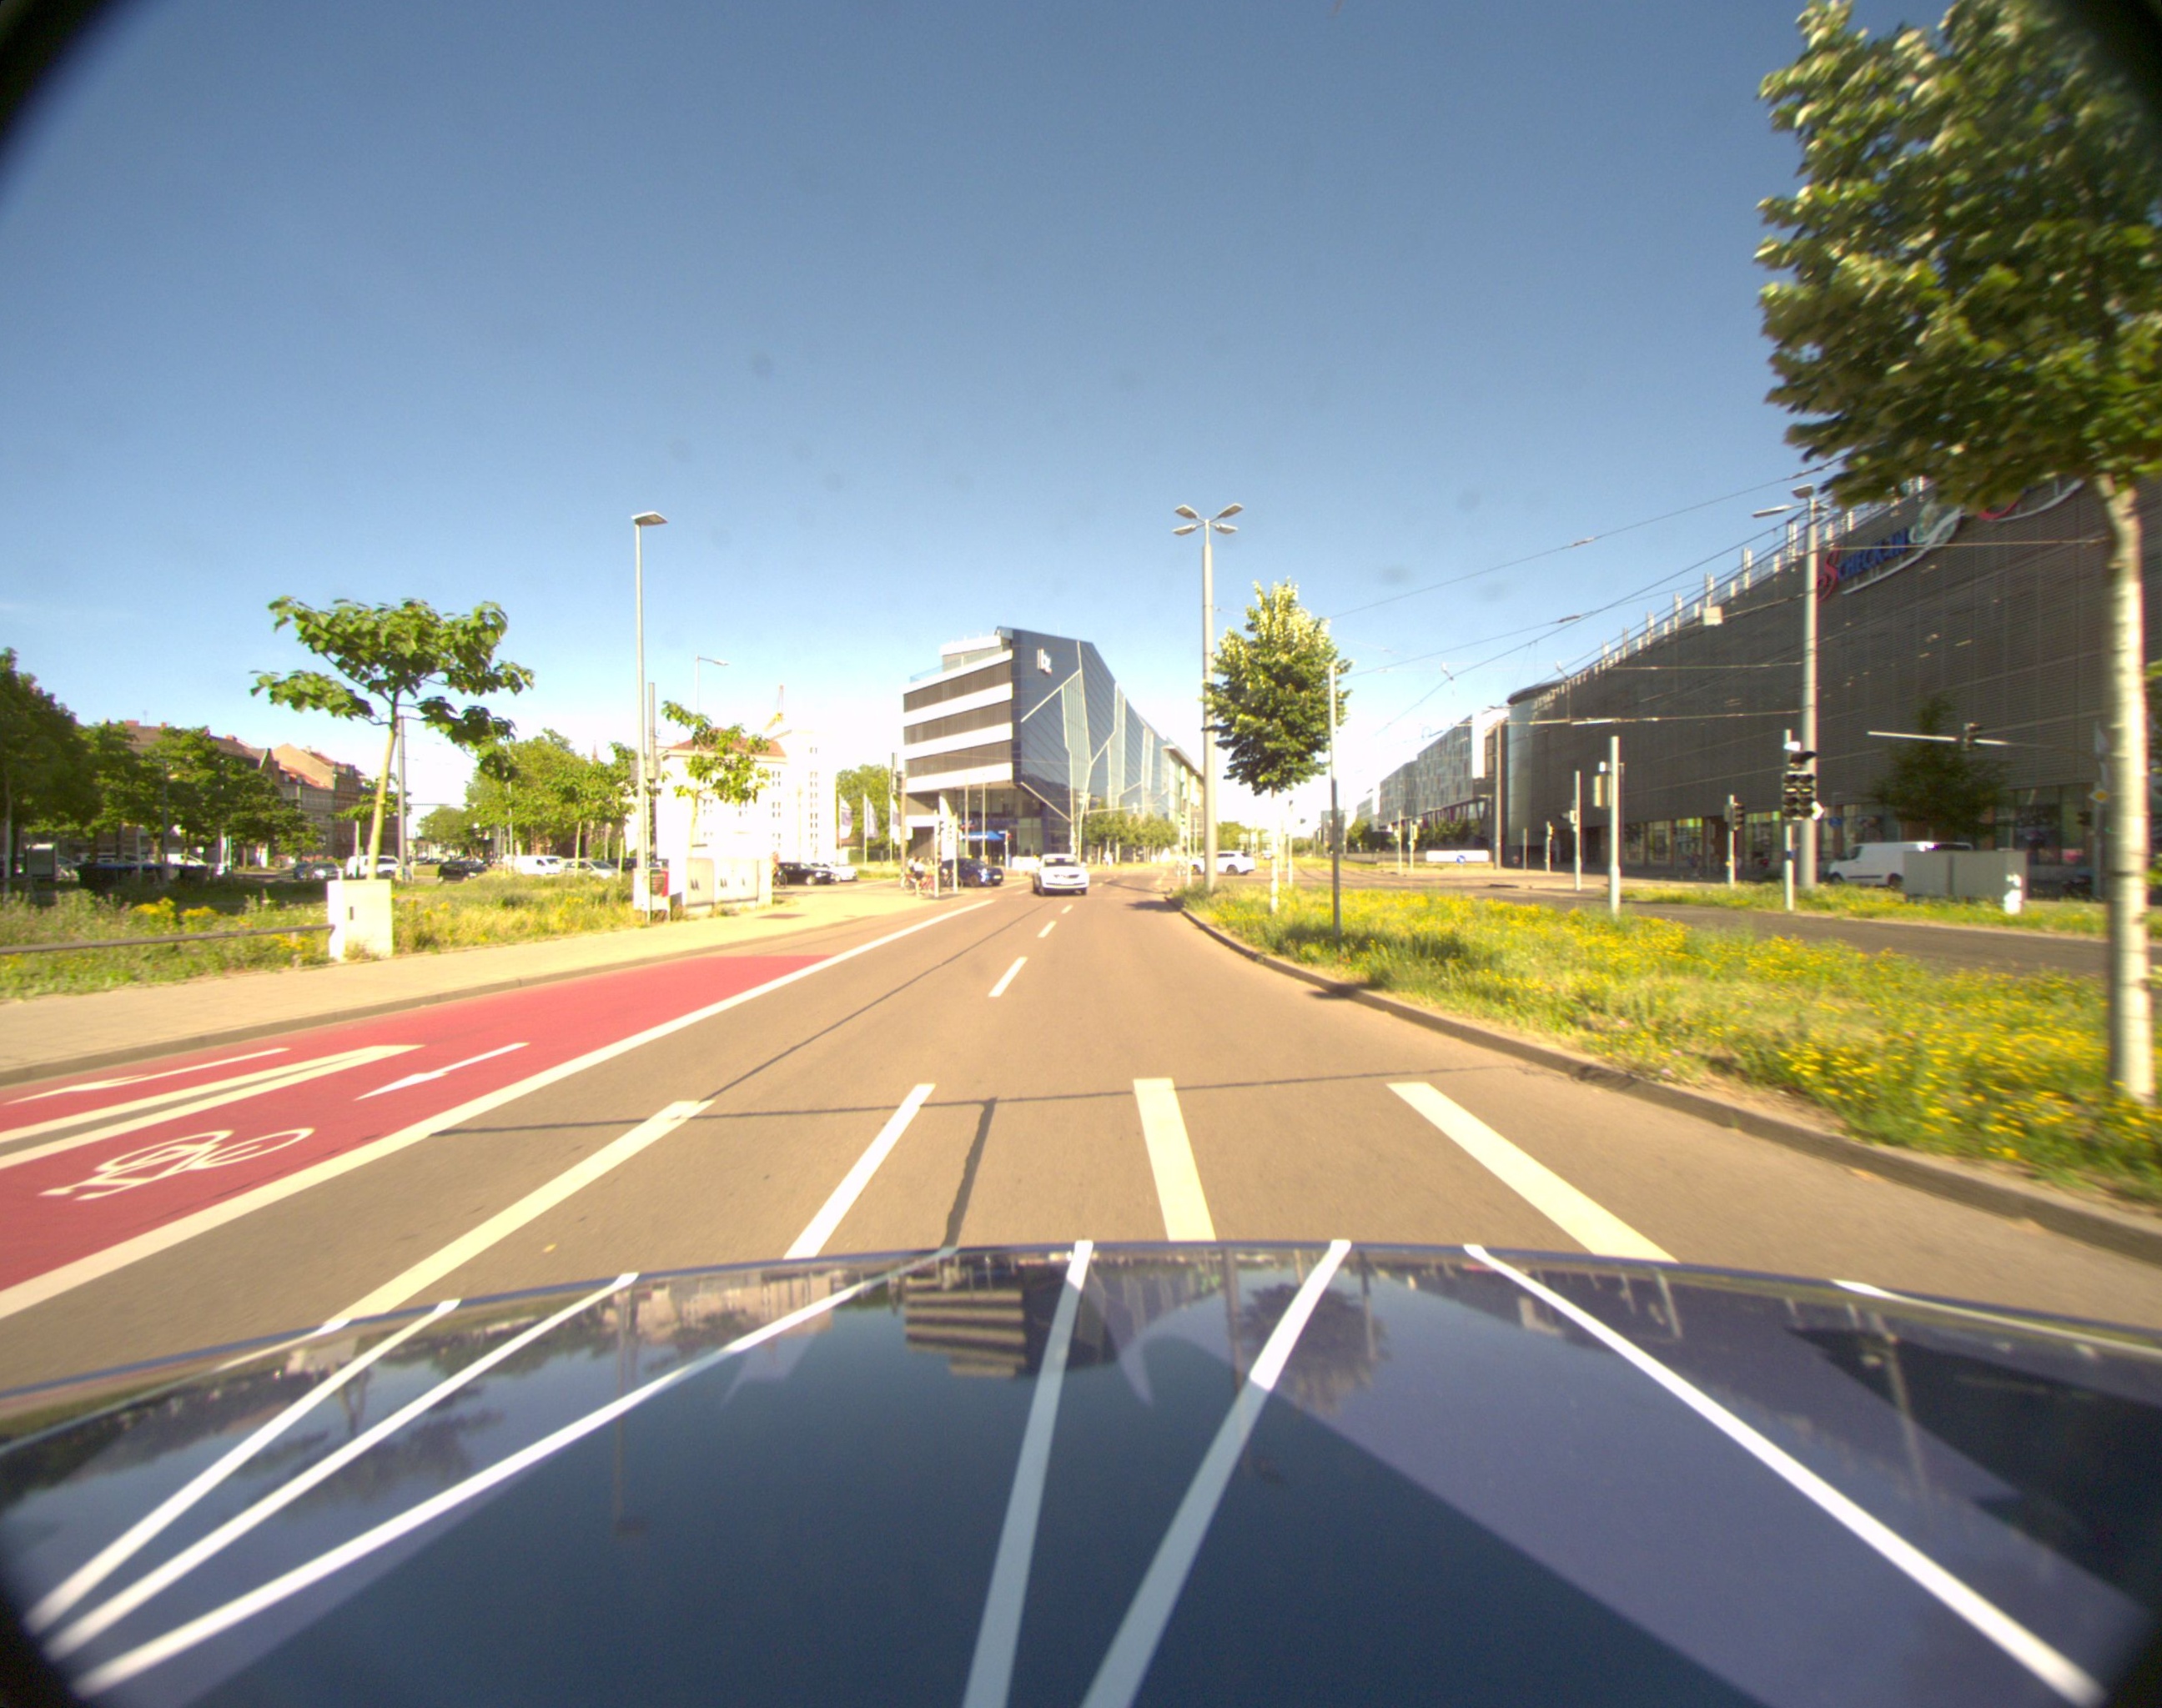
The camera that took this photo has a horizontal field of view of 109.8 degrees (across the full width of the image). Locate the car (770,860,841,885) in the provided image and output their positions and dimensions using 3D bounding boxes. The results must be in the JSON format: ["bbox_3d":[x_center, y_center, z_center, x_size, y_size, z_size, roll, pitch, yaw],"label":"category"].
[{"bbox_3d":[-16.603,1.089,45.841,3.830,1.425,1.588,0,1,15],"label":"car"}]

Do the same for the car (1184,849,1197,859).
[{"bbox_3d":[20.799,-0.028,143.969,1.996,1.718,4.004,0,0,15],"label":"car"}]

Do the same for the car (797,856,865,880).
[{"bbox_3d":[-16.275,0.927,49.518,3.829,1.423,1.670,0,4,12],"label":"car"}]

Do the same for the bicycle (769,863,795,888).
[{"bbox_3d":[-13.797,0.989,35.014,0.698,1.098,2.006,2,-1,-32],"label":"bicycle"}]

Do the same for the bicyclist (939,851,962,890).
[{"bbox_3d":[-6.121,0.758,35.730,0.905,1.787,0.550,1,0,7],"label":"bicyclist"}]

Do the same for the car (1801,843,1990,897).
[{"bbox_3d":[32.600,0.566,30.722,2.225,2.002,5.257,0,0,4],"label":"car"}]

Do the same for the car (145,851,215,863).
[{"bbox_3d":[-97.140,0.316,82.005,1.996,1.203,4.406,0,0,15],"label":"car"}]

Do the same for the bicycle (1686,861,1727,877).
[{"bbox_3d":[40.357,0.961,49.030,0.560,0.980,2.018,-1,1,-20],"label":"bicycle"}]

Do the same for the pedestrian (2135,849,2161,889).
[{"bbox_3d":[40.698,0.552,28.842,0.490,1.510,0.650,0,1,18],"label":"pedestrian"}]

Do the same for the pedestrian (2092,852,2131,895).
[{"bbox_3d":[35.756,0.673,26.372,0.489,1.478,0.742,0,1,23],"label":"pedestrian"}]

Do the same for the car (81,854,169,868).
[{"bbox_3d":[-83.911,0.587,66.771,1.995,1.227,4.408,0,0,25],"label":"car"}]

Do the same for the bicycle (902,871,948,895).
[{"bbox_3d":[-6.365,1.183,31.059,1.704,0.948,0.697,1,0,12],"label":"bicycle"}]

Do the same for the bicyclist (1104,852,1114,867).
[{"bbox_3d":[2.658,0.531,72.062,0.760,1.402,0.773,0,1,25],"label":"bicyclist"}]

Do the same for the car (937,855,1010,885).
[{"bbox_3d":[-5.868,0.819,41.326,3.988,1.547,1.879,0,1,45],"label":"car"}]

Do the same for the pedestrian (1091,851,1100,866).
[{"bbox_3d":[1.609,0.481,82.828,0.855,1.547,0.614,0,1,19],"label":"pedestrian"}]

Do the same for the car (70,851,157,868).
[{"bbox_3d":[-86.290,0.471,67.811,1.995,1.453,4.408,0,1,25],"label":"car"}]

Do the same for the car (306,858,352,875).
[{"bbox_3d":[-61.248,0.992,61.872,4.641,1.263,1.879,0,1,36],"label":"car"}]

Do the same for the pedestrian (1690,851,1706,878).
[{"bbox_3d":[41.229,0.701,50.779,0.589,1.741,0.625,0,1,-5],"label":"pedestrian"}]

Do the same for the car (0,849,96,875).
[{"bbox_3d":[-74.078,0.532,53.895,1.729,1.761,4.799,0,1,15],"label":"car"}]

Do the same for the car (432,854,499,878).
[{"bbox_3d":[-42.690,0.807,52.702,3.990,1.547,1.878,0,1,23],"label":"car"}]

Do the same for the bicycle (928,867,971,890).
[{"bbox_3d":[-6.183,1.150,35.735,1.893,1.032,0.607,1,0,7],"label":"bicycle"}]

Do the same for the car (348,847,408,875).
[{"bbox_3d":[-52.187,0.491,56.392,4.642,1.970,1.878,0,1,29],"label":"car"}]

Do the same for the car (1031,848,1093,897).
[{"bbox_3d":[-0.843,0.665,30.637,1.875,1.621,4.332,-1,3,-10],"label":"car"}]

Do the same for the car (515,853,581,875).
[{"bbox_3d":[-38.717,0.704,55.209,3.991,1.547,1.877,0,1,18],"label":"car"}]

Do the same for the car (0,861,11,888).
[{"bbox_3d":[-59.000,1.109,39.154,1.996,1.455,4.004,0,1,15],"label":"car"}]

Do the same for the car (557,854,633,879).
[{"bbox_3d":[-31.426,0.813,49.183,3.993,1.547,1.877,0,1,13],"label":"car"}]

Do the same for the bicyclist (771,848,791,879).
[{"bbox_3d":[-13.860,0.443,35.146,0.698,1.369,0.736,2,-1,-32],"label":"bicyclist"}]

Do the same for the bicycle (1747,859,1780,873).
[{"bbox_3d":[45.961,0.815,51.184,0.681,0.862,2.050,0,1,12],"label":"bicycle"}]

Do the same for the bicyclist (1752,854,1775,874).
[{"bbox_3d":[45.934,0.694,51.138,0.681,1.310,1.040,0,1,12],"label":"bicyclist"}]

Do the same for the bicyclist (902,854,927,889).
[{"bbox_3d":[-8.169,0.857,37.319,1.001,1.644,0.596,3,1,14],"label":"bicyclist"}]

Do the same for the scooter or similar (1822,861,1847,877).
[{"bbox_3d":[40.325,0.782,40.669,0.301,0.846,1.228,0,1,10],"label":"scooter or similar"}]

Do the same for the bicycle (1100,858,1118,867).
[{"bbox_3d":[2.641,0.804,72.029,0.768,0.835,2.572,0,1,25],"label":"bicycle"}]

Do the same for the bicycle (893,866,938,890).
[{"bbox_3d":[-8.114,1.171,37.300,2.007,1.098,0.698,3,-1,15],"label":"bicycle"}]

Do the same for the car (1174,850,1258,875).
[{"bbox_3d":[9.343,0.580,52.895,5.530,1.642,1.818,0,1,37],"label":"car"}]

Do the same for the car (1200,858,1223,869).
[{"bbox_3d":[13.682,0.937,79.556,1.996,1.084,4.004,0,0,15],"label":"car"}]

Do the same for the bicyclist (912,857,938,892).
[{"bbox_3d":[-6.382,0.844,31.056,0.826,1.395,0.590,1,0,12],"label":"bicyclist"}]

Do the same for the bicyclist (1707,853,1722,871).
[{"bbox_3d":[40.506,0.519,48.577,0.560,1.133,0.562,-1,1,-20],"label":"bicyclist"}]
